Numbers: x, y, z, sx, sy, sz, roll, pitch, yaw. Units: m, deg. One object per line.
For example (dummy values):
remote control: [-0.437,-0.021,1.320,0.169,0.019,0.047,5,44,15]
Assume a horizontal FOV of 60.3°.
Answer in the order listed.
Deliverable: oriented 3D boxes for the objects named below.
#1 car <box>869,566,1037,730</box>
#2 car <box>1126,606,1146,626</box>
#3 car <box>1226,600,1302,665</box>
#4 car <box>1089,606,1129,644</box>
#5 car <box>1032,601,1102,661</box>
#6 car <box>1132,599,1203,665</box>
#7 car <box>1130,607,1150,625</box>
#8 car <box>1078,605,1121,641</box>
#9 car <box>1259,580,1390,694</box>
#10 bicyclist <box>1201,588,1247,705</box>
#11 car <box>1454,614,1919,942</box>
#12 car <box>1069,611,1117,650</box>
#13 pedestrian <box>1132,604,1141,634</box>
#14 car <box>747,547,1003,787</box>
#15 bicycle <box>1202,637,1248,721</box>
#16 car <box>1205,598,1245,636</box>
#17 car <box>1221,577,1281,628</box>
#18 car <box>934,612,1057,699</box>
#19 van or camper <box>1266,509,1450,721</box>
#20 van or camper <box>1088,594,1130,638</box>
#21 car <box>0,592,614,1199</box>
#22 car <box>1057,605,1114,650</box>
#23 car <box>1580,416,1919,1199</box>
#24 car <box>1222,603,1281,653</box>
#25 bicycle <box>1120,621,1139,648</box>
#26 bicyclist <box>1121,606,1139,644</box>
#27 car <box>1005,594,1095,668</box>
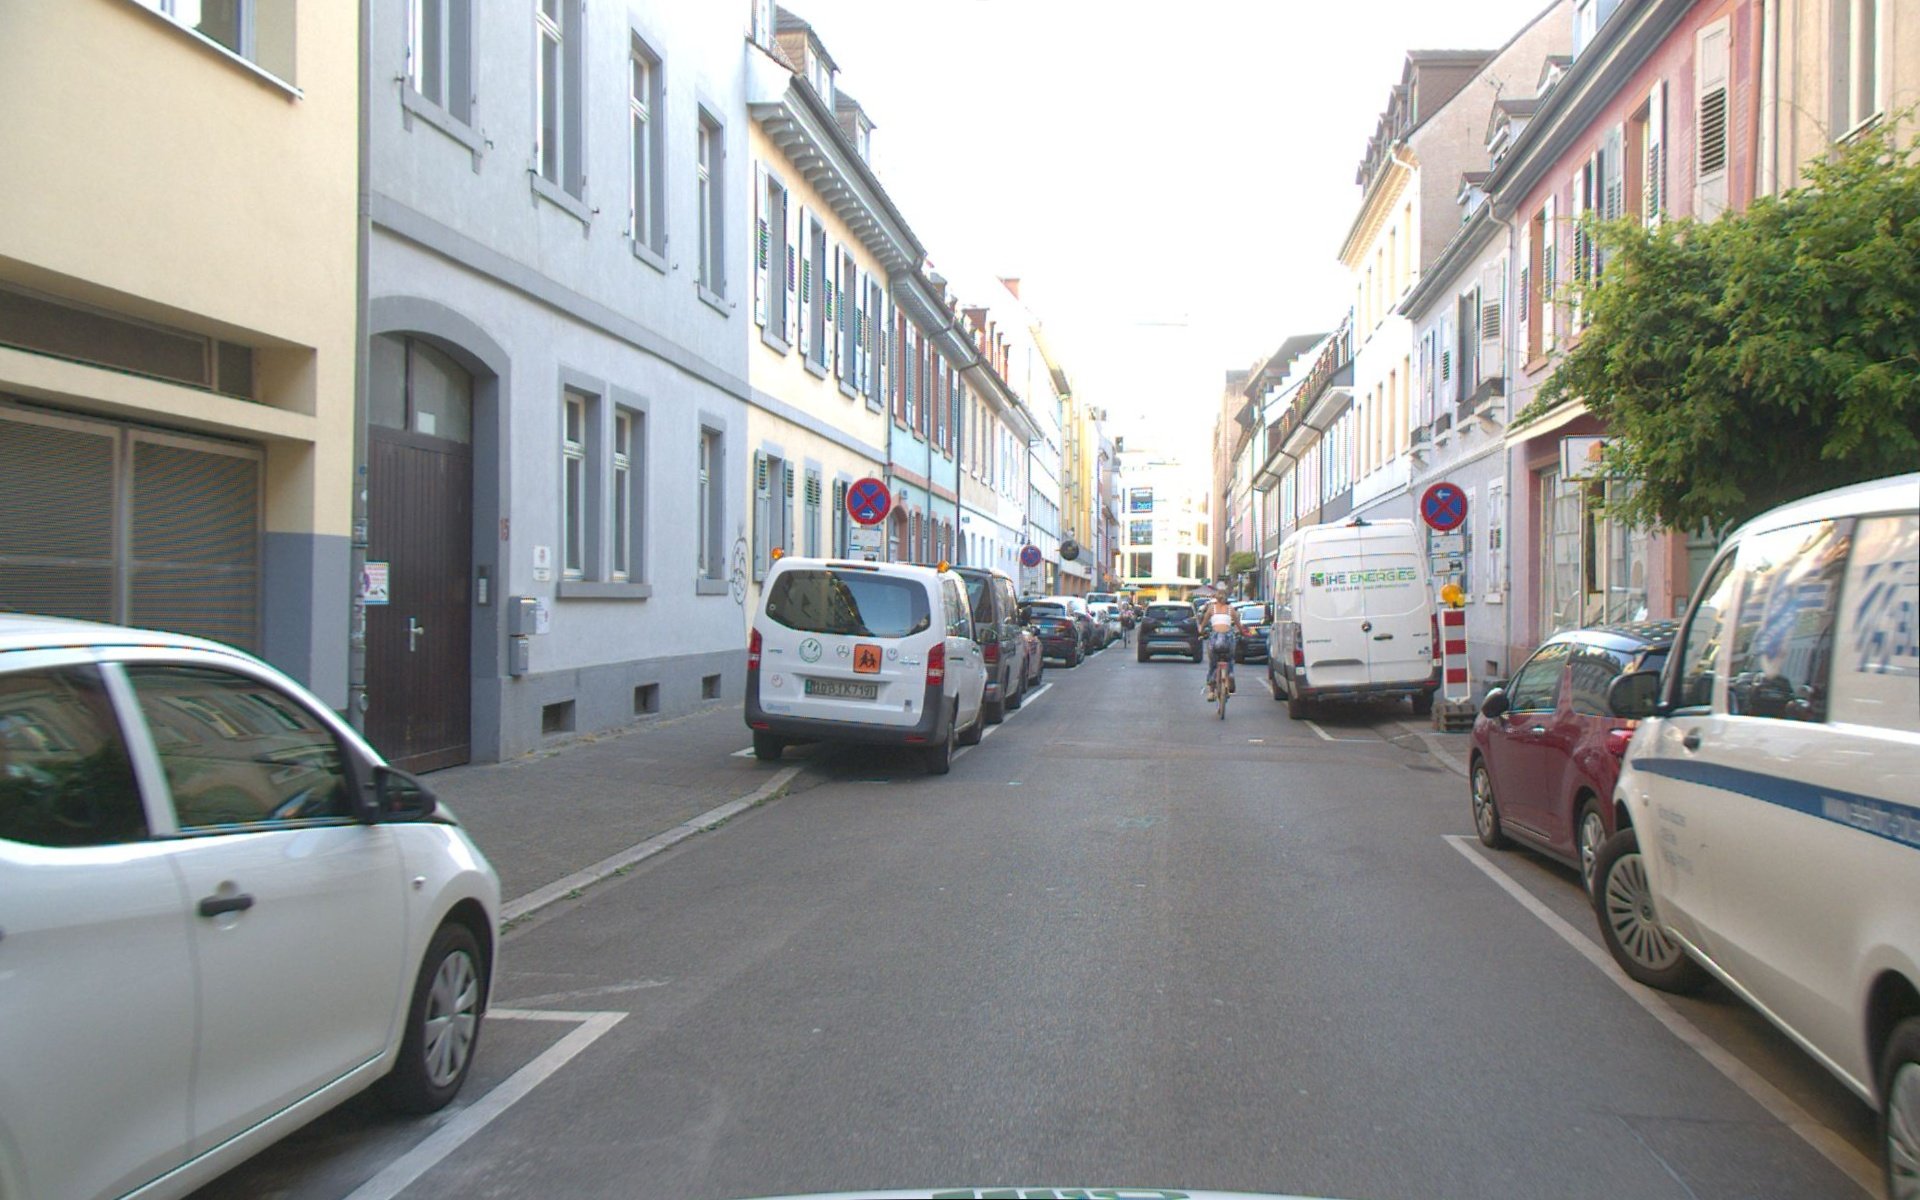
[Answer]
car: [0.018,0.600,23.107,1.823,2.049,4.817,0,0,6]
car: [15.110,1.368,141.968,1.618,1.588,3.608,1,0,7]
car: [8.203,0.848,44.954,1.781,1.556,5.075,-3,-1,9]
car: [6.732,1.107,74.568,1.618,1.588,3.608,1,0,7]
car: [3.388,0.945,51.769,1.955,1.737,4.538,1,0,6]
car: [5.618,0.835,44.875,1.781,1.646,4.003,1,0,7]
car: [16.174,1.414,148.698,1.618,1.588,3.608,1,0,7]
car: [5.891,0.952,69.533,1.618,1.435,3.608,1,0,7]
car: [6.983,0.692,32.201,1.900,1.927,5.321,-3,-1,7]
bicyclist: [3.688,0.644,23.135,0.607,1.602,0.684,1,-1,8]
car: [4.139,0.863,9.777,1.620,1.531,3.756,0,0,5]
car: [5.223,1.162,64.601,1.618,1.435,3.905,1,0,7]
pedestrian: [10.750,1.166,100.659,0.542,1.783,0.568,1,-1,5]
car: [-0.670,0.577,16.764,1.823,2.049,5.109,0,0,6]
bicycle: [3.698,1.081,23.156,0.600,1.101,1.810,1,0,8]
car: [11.873,0.753,74.165,1.618,1.588,3.608,1,0,7]
car: [9.144,0.078,52.142,1.640,1.512,4.003,1,0,7]
car: [0.721,0.942,29.869,1.727,1.426,4.266,1,0,8]
van or camper: [5.711,0.195,24.583,2.006,2.684,7.068,0,0,8]
van or camper: [7.254,0.765,80.405,1.805,2.048,4.682,1,0,7]
car: [-2.245,0.758,3.996,1.627,1.474,3.523,4,0,7]
car: [4.446,0.926,58.061,1.877,1.459,4.296,1,0,6]
car: [3.265,0.576,4.821,1.895,1.931,5.281,0,0,11]
car: [10.914,1.016,62.110,1.877,1.768,4.156,1,0,6]
bicycle: [6.200,1.267,60.442,0.600,0.949,1.888,1,0,9]
bicyclist: [6.215,0.912,60.491,0.593,1.393,0.622,1,-1,8]
car: [2.264,0.728,40.622,1.764,1.706,4.493,0,0,9]
